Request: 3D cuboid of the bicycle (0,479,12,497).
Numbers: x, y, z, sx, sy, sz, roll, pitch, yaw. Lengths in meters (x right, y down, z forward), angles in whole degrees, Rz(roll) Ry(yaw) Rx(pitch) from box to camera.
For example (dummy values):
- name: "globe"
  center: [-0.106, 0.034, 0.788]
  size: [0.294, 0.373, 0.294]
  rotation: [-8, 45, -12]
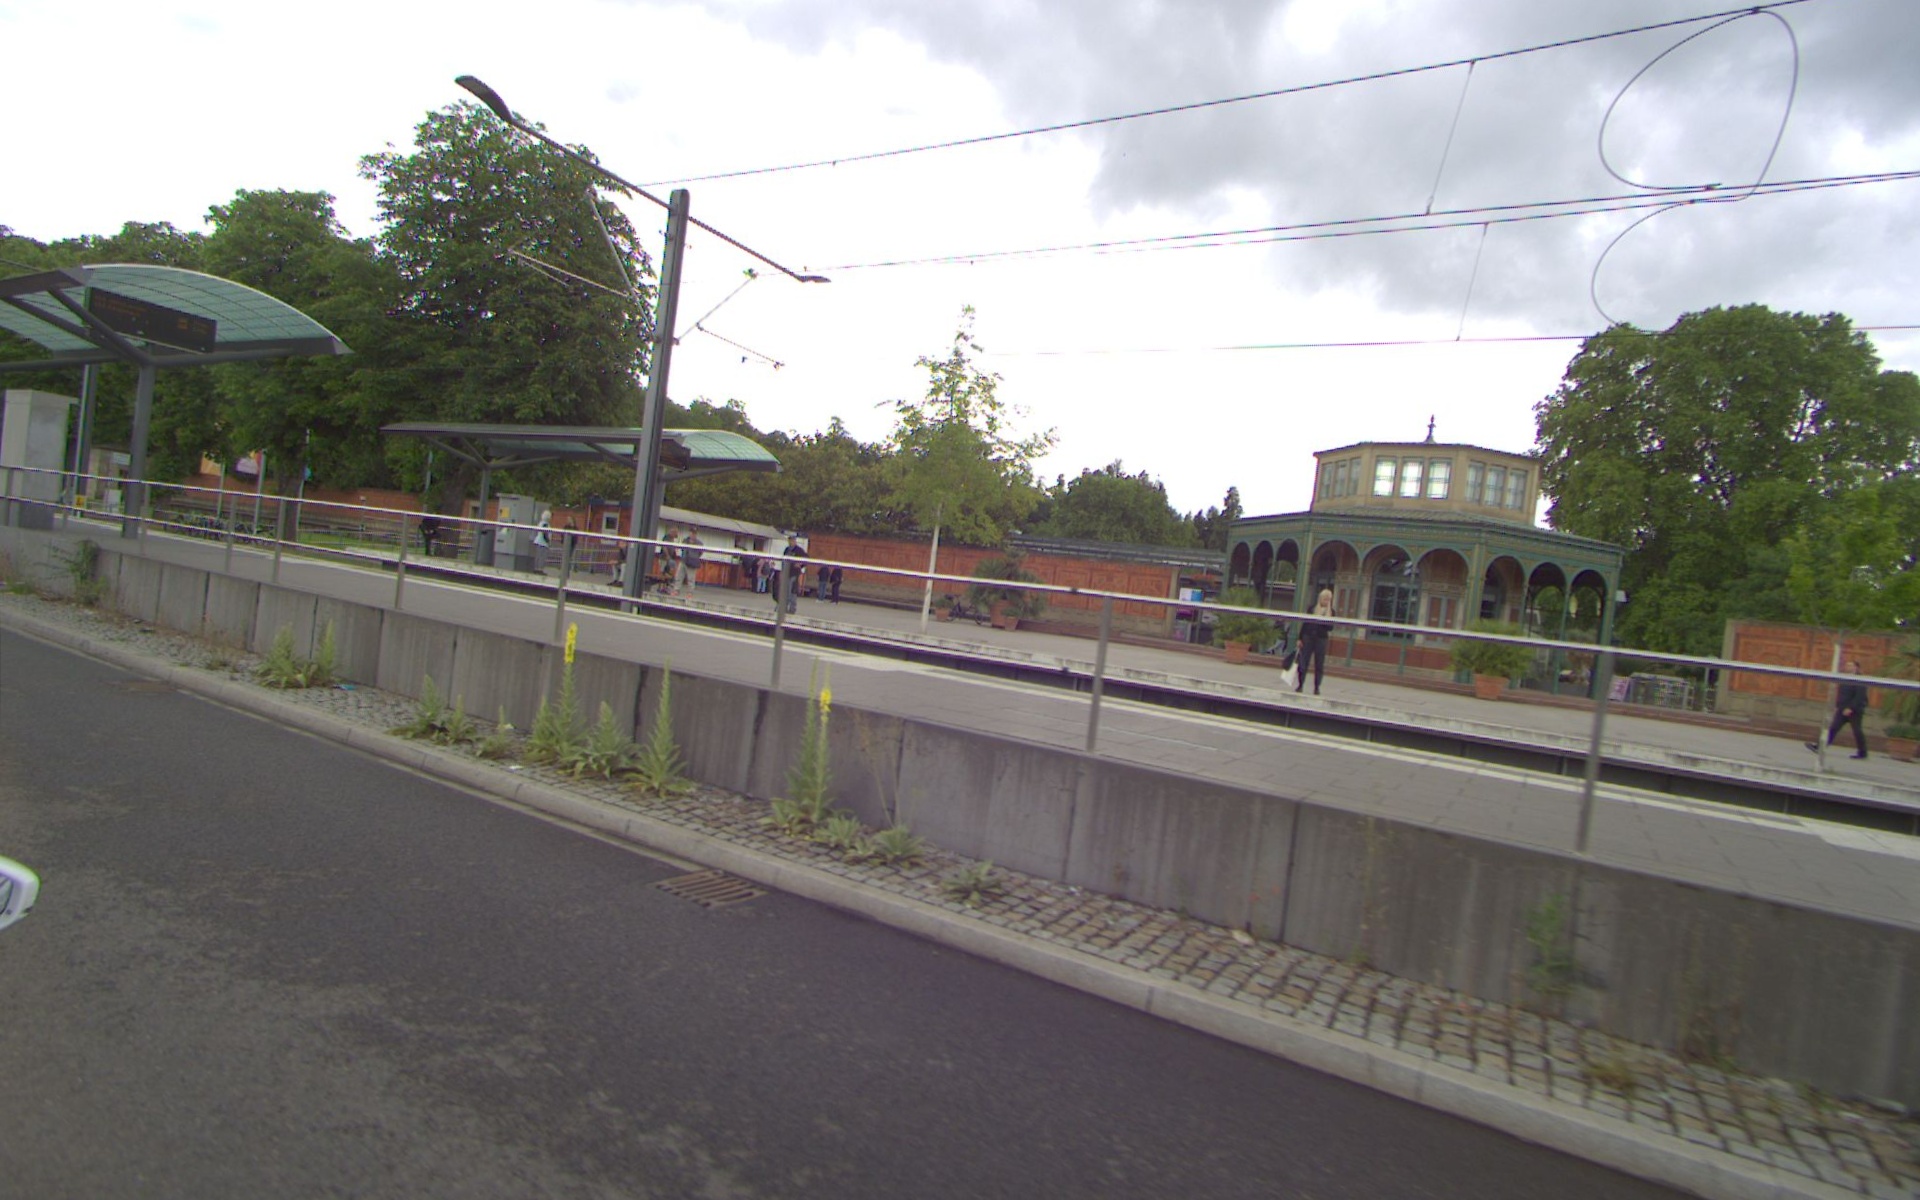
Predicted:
- name: "bicycle"
  center: [-55.306, -6.486, 57.222]
  size: [0.522, 0.988, 1.914]
  rotation: [8, 1, 32]

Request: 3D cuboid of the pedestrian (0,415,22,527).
- name: "pedestrian"
  center: [-15.512, -2.103, 15.821]
  size: [0.719, 1.719, 0.771]
  rotation: [10, 0, 33]

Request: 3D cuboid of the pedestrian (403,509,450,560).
- name: "pedestrian"
  center: [-15.759, -1.938, 29.721]
  size: [0.951, 1.339, 0.675]
  rotation: [7, -1, 30]

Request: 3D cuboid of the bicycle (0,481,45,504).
- name: "bicycle"
  center: [-50.898, -5.816, 54.433]
  size: [0.522, 0.988, 1.914]
  rotation: [8, 1, 32]

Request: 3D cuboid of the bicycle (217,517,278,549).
- name: "bicycle"
  center: [-28.890, -2.721, 40.841]
  size: [0.524, 0.974, 1.877]
  rotation: [7, -2, 32]

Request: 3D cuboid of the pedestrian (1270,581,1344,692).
- name: "pedestrian"
  center: [5.797, 0.611, 16.787]
  size: [0.851, 1.707, 0.634]
  rotation: [7, -1, 31]

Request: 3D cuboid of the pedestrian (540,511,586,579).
- name: "pedestrian"
  center: [-10.721, -1.489, 27.175]
  size: [0.665, 1.696, 0.675]
  rotation: [7, -1, 28]

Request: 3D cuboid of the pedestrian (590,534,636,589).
- name: "pedestrian"
  center: [-8.468, -0.938, 24.580]
  size: [0.665, 1.205, 0.658]
  rotation: [7, -1, 33]

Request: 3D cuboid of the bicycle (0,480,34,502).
- name: "bicycle"
  center: [-52.218, -6.032, 55.239]
  size: [0.522, 0.988, 1.914]
  rotation: [8, 1, 32]

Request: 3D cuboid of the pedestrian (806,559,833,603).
- name: "pedestrian"
  center: [-5.521, -0.723, 39.454]
  size: [0.611, 1.601, 0.657]
  rotation: [8, -1, 18]

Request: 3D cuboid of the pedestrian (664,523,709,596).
- name: "pedestrian"
  center: [-6.571, -0.980, 24.137]
  size: [0.665, 1.639, 0.525]
  rotation: [7, -1, 33]

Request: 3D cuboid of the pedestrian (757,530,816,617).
- name: "pedestrian"
  center: [-3.989, -0.606, 23.140]
  size: [0.935, 1.859, 0.633]
  rotation: [7, -1, 33]

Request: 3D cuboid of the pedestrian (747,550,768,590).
- name: "pedestrian"
  center: [-8.256, -1.225, 41.001]
  size: [0.452, 1.553, 0.486]
  rotation: [7, -1, 34]

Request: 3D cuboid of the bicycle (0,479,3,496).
- name: "bicycle"
  center: [-56.082, -6.580, 57.479]
  size: [0.522, 0.988, 1.914]
  rotation: [8, 1, 32]

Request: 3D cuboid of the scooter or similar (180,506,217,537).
- name: "scooter or similar"
  center: [-33.599, -3.463, 44.412]
  size: [1.156, 1.152, 0.330]
  rotation: [9, -1, -35]

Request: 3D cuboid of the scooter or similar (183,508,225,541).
- name: "scooter or similar"
  center: [-32.127, -3.212, 42.776]
  size: [0.328, 1.152, 1.275]
  rotation: [7, -2, 38]

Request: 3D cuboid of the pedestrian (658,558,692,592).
- name: "pedestrian"
  center: [-7.020, -0.619, 24.786]
  size: [0.418, 0.749, 0.561]
  rotation: [7, -2, 41]

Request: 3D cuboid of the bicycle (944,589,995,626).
- name: "bicycle"
  center: [0.351, 0.268, 36.335]
  size: [1.684, 1.073, 0.564]
  rotation: [8, -1, 1]

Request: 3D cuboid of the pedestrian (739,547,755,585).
- name: "pedestrian"
  center: [-8.817, -1.392, 41.598]
  size: [0.311, 1.504, 0.342]
  rotation: [7, -1, 34]

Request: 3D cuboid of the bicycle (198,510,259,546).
- name: "bicycle"
  center: [-30.221, -2.978, 41.573]
  size: [0.524, 1.152, 1.877]
  rotation: [7, -2, 32]

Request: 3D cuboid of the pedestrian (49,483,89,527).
- name: "pedestrian"
  center: [-36.727, -3.902, 41.464]
  size: [0.763, 1.630, 0.835]
  rotation: [7, 2, 9]

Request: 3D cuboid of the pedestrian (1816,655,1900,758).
- name: "pedestrian"
  center: [17.608, 2.088, 19.739]
  size: [0.935, 1.859, 0.550]
  rotation: [7, -1, 25]

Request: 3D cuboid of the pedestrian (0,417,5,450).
- name: "pedestrian"
  center: [-16.138, -2.277, 16.223]
  size: [0.762, 1.571, 0.751]
  rotation: [10, 0, 33]

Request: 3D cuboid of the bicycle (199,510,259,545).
- name: "bicycle"
  center: [-30.804, -3.041, 42.401]
  size: [0.524, 1.152, 1.877]
  rotation: [7, -2, 32]

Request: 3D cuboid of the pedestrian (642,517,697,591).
- name: "pedestrian"
  center: [-7.263, -1.141, 25.204]
  size: [0.747, 1.696, 0.863]
  rotation: [7, -1, 21]

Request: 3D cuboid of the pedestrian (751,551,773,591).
- name: "pedestrian"
  center: [-7.967, -1.176, 40.531]
  size: [0.452, 1.504, 0.486]
  rotation: [7, -1, 34]

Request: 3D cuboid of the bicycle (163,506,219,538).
- name: "bicycle"
  center: [-33.004, -3.348, 43.213]
  size: [0.475, 1.045, 1.767]
  rotation: [7, -2, 32]

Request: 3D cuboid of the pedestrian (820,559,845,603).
- name: "pedestrian"
  center: [-5.079, -0.755, 40.044]
  size: [0.611, 1.601, 0.586]
  rotation: [8, -1, 19]

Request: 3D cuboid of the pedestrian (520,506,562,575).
- name: "pedestrian"
  center: [-11.062, -1.569, 26.562]
  size: [0.664, 1.696, 0.545]
  rotation: [7, -1, 28]

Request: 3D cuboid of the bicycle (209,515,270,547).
- name: "bicycle"
  center: [-29.502, -2.807, 41.199]
  size: [0.524, 0.974, 1.877]
  rotation: [7, -2, 32]
